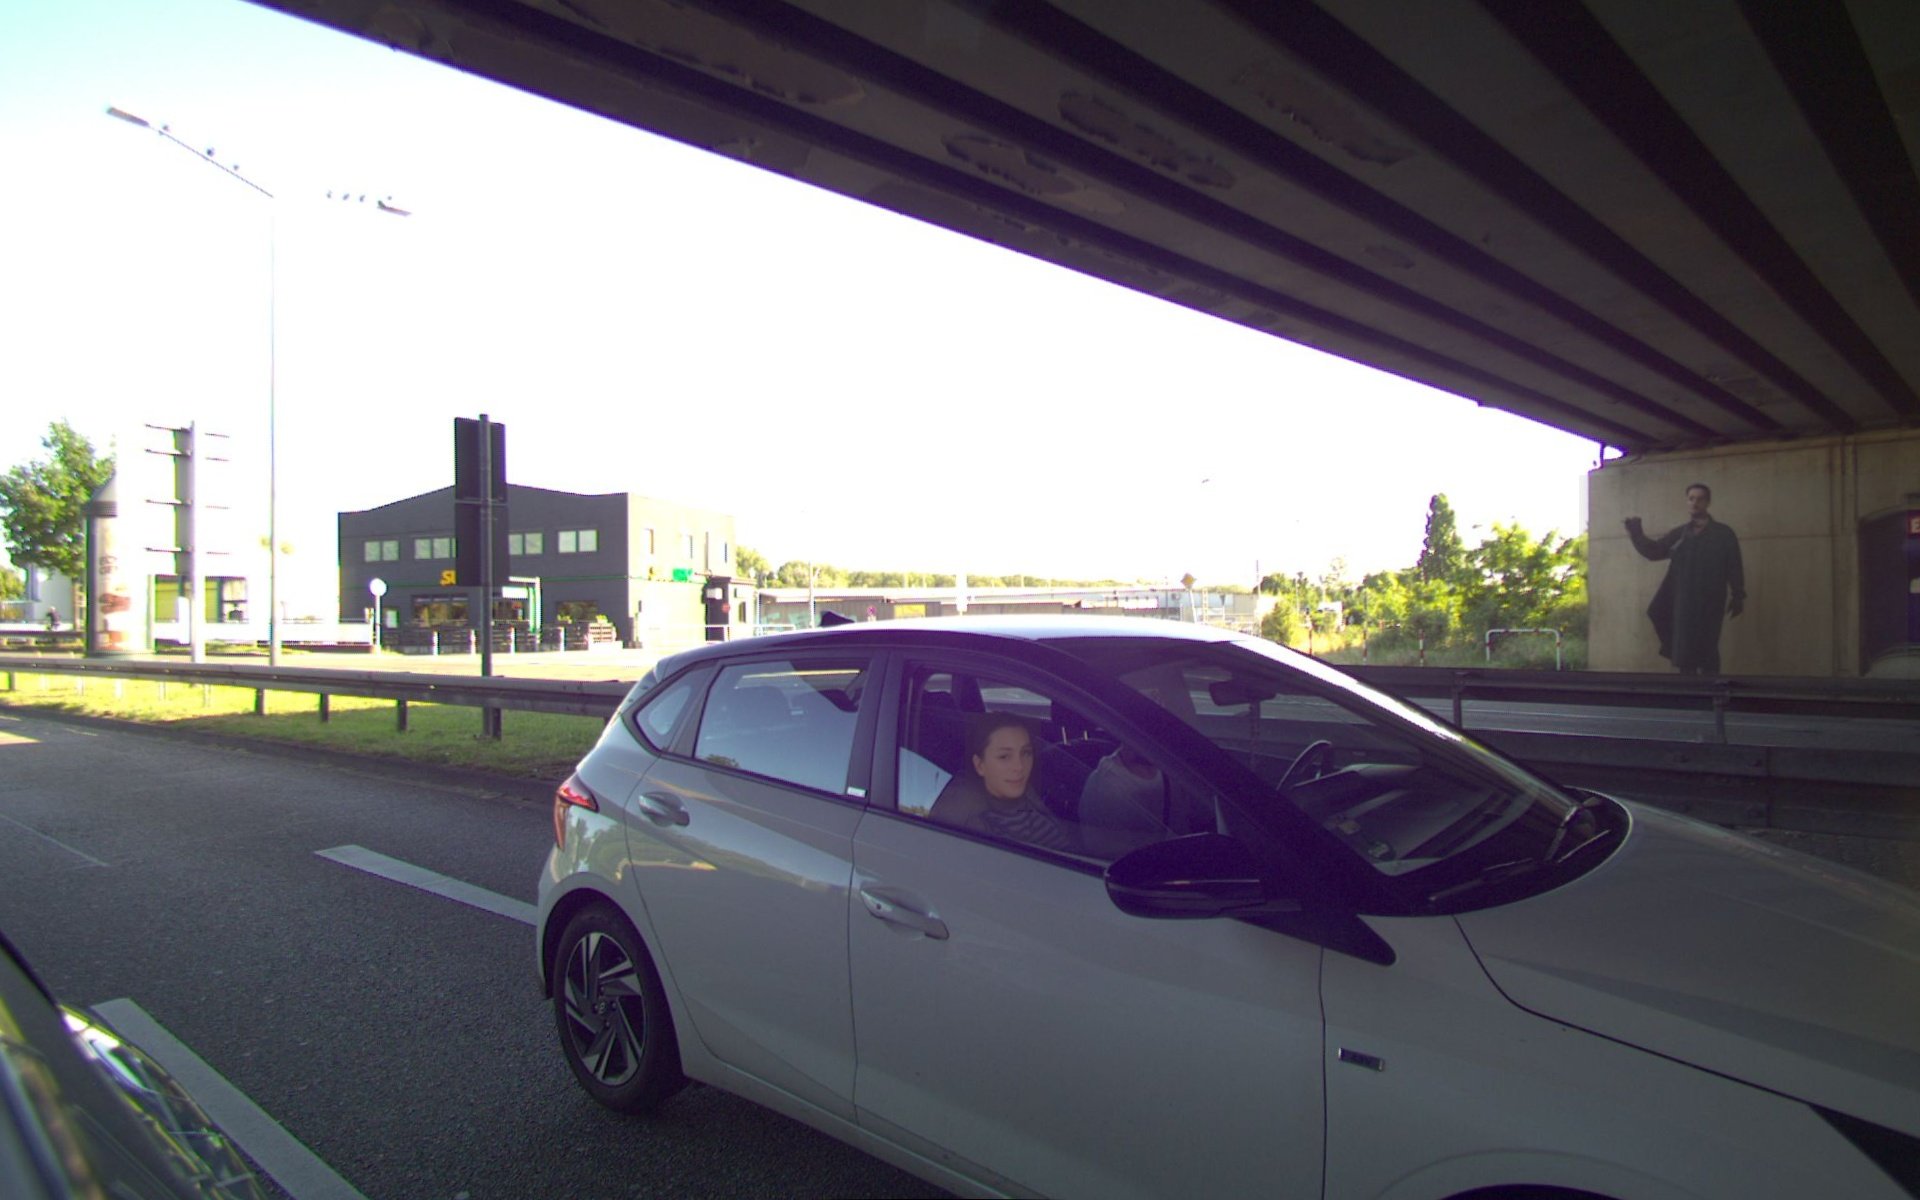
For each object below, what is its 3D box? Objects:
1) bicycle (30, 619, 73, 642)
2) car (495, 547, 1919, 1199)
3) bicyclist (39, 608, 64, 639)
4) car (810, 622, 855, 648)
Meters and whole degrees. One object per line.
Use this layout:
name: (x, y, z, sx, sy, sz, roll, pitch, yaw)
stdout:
bicycle: (-42.464, 1.439, 47.309, 1.733, 1.031, 0.591, -1, 0, 13)
car: (0.563, 0.716, 2.657, 3.987, 1.491, 1.716, -1, -1, 40)
bicyclist: (-42.475, 1.092, 47.307, 0.701, 1.438, 0.591, -1, 0, 13)
car: (-6.871, 1.927, 54.948, 1.806, 1.291, 4.180, 1, -3, 1)
